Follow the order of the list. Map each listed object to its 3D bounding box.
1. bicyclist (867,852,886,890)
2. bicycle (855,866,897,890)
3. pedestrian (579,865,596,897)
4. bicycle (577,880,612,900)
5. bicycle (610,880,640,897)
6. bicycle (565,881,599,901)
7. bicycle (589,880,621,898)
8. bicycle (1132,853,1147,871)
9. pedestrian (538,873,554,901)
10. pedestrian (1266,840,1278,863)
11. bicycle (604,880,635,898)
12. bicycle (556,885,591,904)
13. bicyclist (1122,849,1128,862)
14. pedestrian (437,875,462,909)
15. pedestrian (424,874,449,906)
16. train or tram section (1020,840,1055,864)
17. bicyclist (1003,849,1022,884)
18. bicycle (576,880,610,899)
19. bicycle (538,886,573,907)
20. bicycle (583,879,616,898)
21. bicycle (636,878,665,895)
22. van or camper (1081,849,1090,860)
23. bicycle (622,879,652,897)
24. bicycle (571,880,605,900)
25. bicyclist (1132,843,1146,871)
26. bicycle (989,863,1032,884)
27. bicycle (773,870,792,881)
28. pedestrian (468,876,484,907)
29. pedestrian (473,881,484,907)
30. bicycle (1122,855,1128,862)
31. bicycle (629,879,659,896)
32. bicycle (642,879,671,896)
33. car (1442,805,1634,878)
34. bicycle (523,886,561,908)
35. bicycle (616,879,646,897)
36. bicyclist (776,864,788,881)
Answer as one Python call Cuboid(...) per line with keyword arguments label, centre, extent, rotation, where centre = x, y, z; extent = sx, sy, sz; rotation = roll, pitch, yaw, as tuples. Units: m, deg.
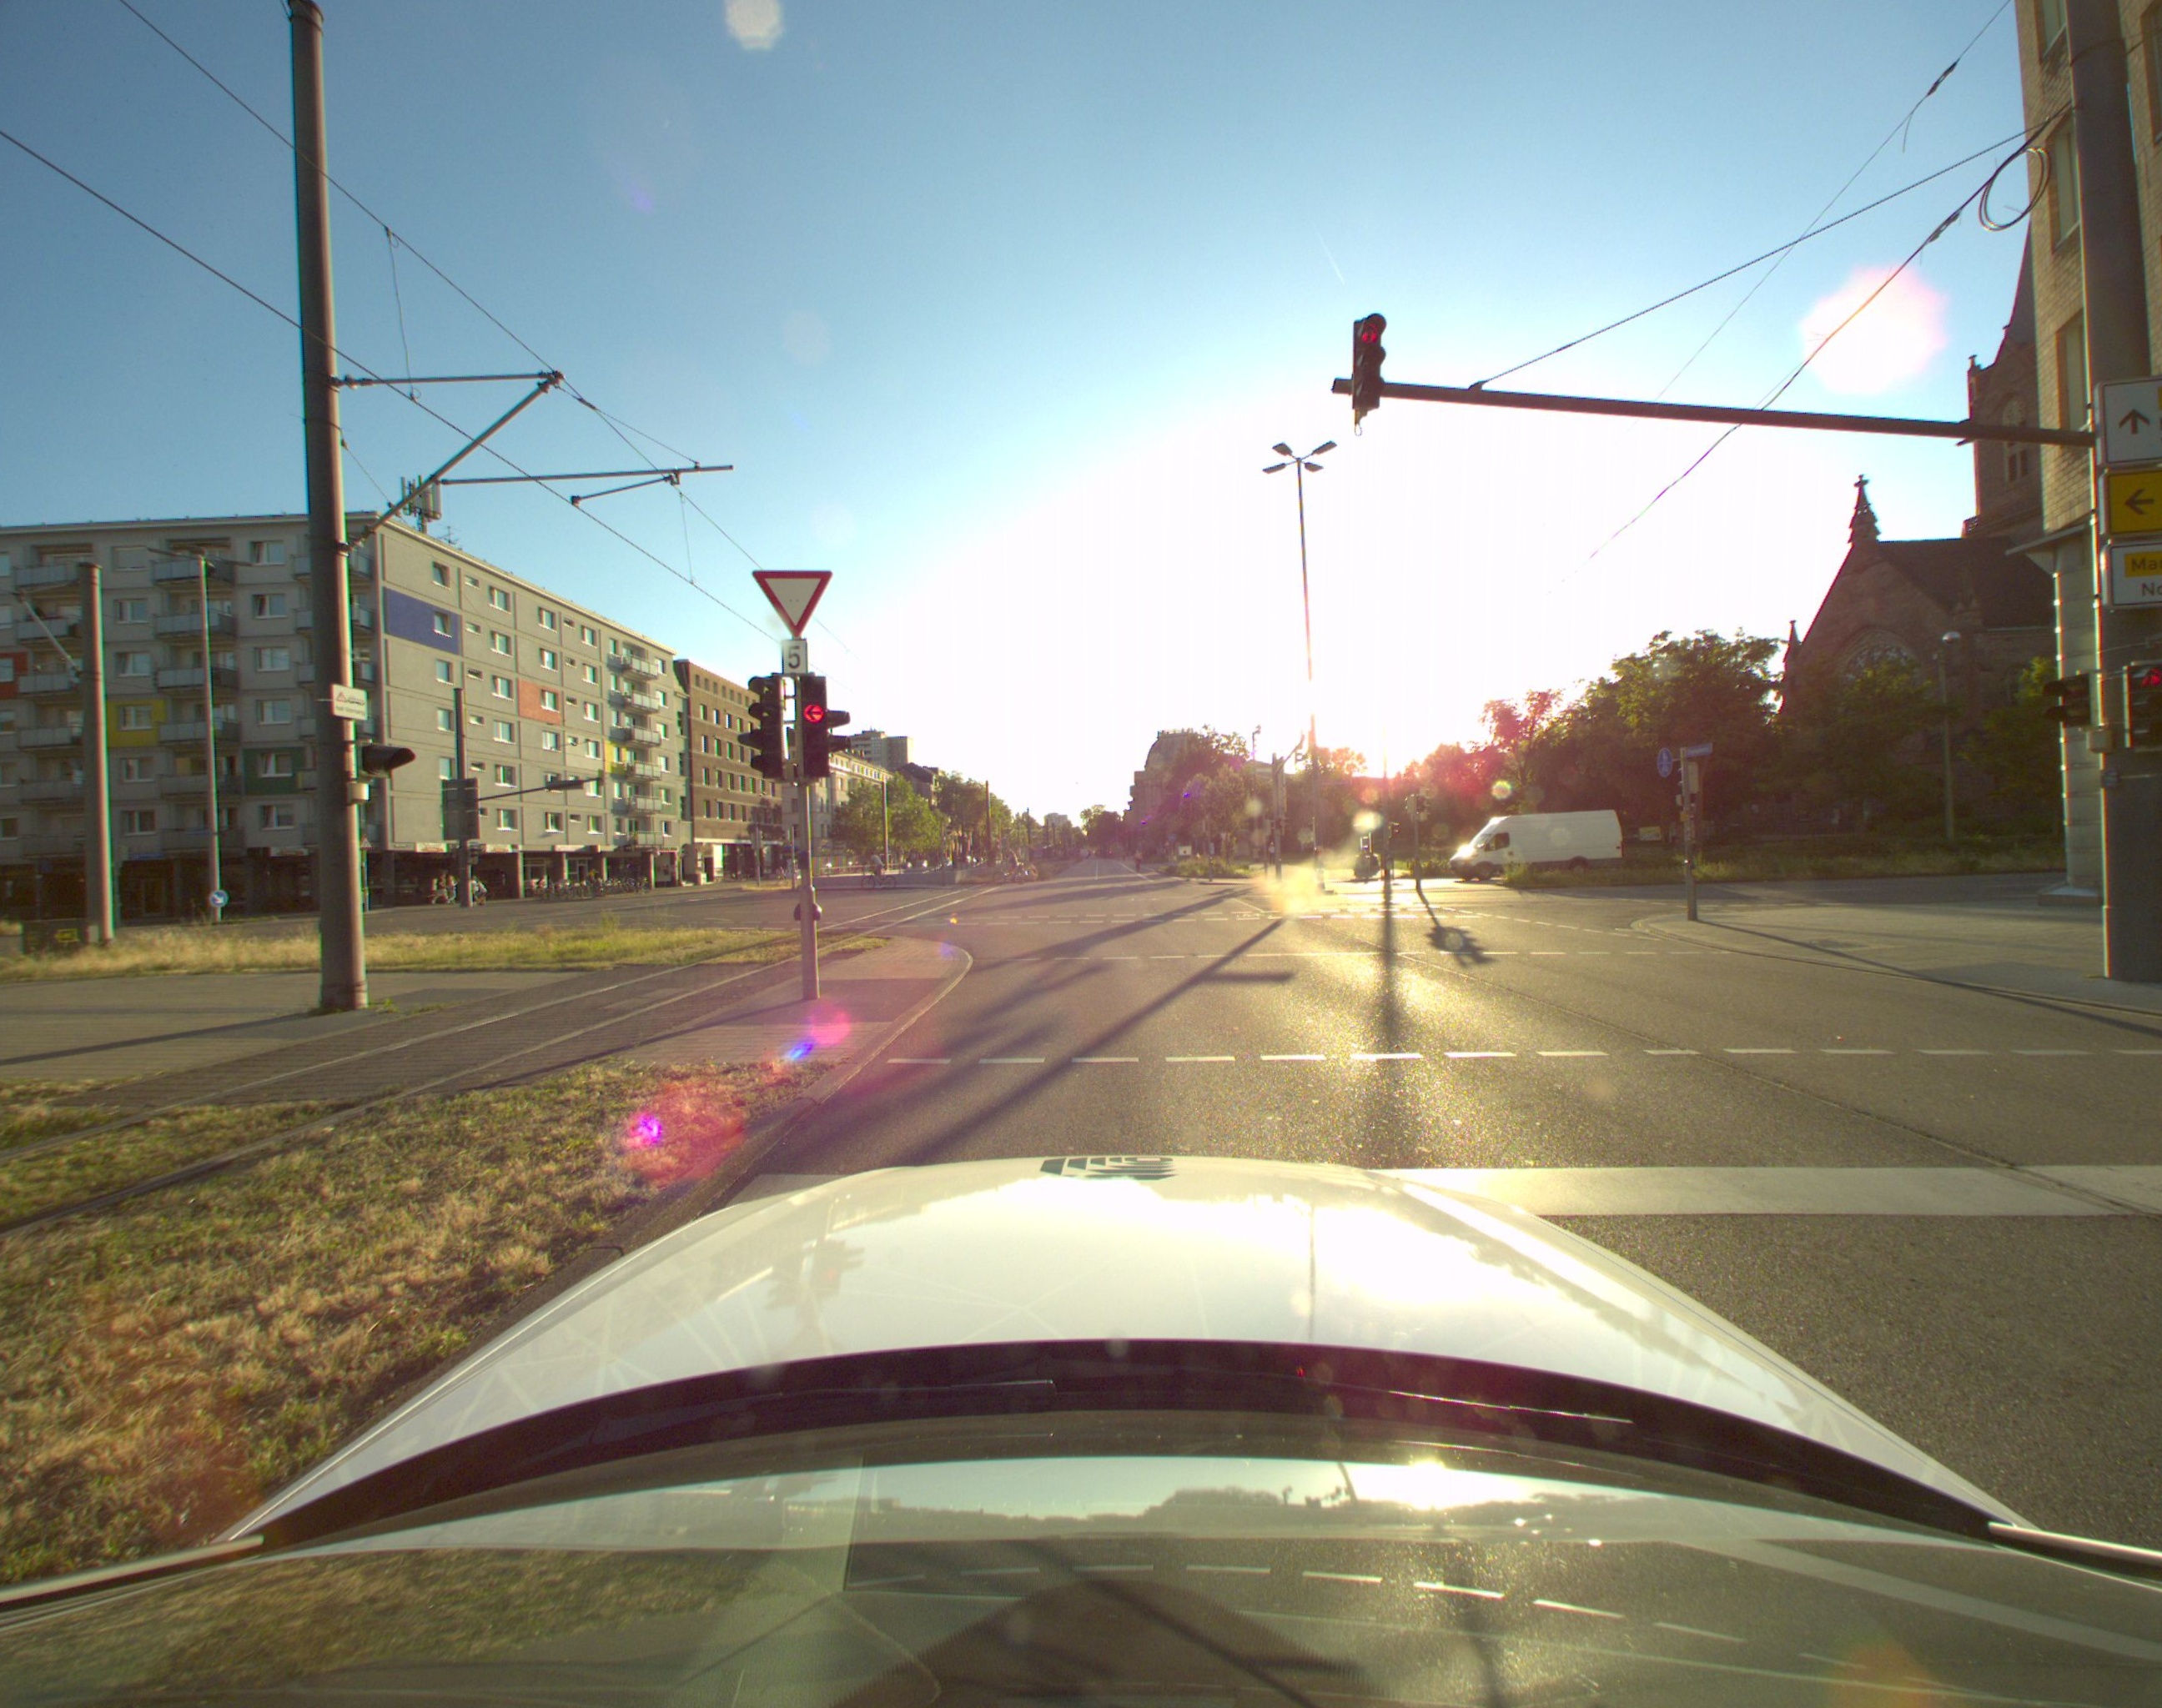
Cuboid(label="bicyclist", centre=(-10.005, 0.807, 39.859), extent=(0.793, 1.818, 0.643), rotation=(-2, 0, -12))
Cuboid(label="bicycle", centre=(-10.016, 1.181, 39.867), extent=(1.902, 1.075, 0.630), rotation=(-2, 0, -12))
Cuboid(label="pedestrian", centre=(-34.553, 1.891, 57.047), extent=(0.599, 2.178, 0.792), rotation=(-2, 0, 1))
Cuboid(label="bicycle", centre=(-31.240, 2.314, 52.301), extent=(1.782, 1.191, 0.652), rotation=(-2, 0, 1))
Cuboid(label="bicycle", centre=(-31.104, 2.342, 55.560), extent=(1.754, 1.119, 0.568), rotation=(-2, 0, 2))
Cuboid(label="bicycle", centre=(-31.279, 2.301, 51.054), extent=(1.759, 1.167, 0.540), rotation=(-2, 0, 2))
Cuboid(label="bicycle", centre=(-31.806, 2.347, 54.426), extent=(1.764, 1.136, 0.606), rotation=(-2, 0, 2))
Cuboid(label="bicycle", centre=(4.849, 0.668, 67.758), extent=(1.094, 1.399, 2.833), rotation=(-2, 0, 2))
Cuboid(label="pedestrian", centre=(-33.217, 2.053, 50.549), extent=(0.577, 1.684, 0.547), rotation=(-2, 0, 0))
Cuboid(label="pedestrian", centre=(15.167, -0.186, 64.623), extent=(0.826, 1.803, 0.814), rotation=(-2, 0, 17))
Cuboid(label="bicycle", centre=(-31.138, 2.340, 54.974), extent=(1.748, 1.117, 0.552), rotation=(-2, 0, 2))
Cuboid(label="bicycle", centre=(-31.461, 2.507, 50.481), extent=(1.750, 1.139, 0.600), rotation=(-2, 0, 2))
Cuboid(label="bicyclist", centre=(7.081, 0.211, 131.002), extent=(0.922, 2.013, 0.851), rotation=(-2, 0, 1))
Cuboid(label="pedestrian", centre=(-35.703, 2.129, 46.060), extent=(0.785, 1.841, 0.733), rotation=(-2, 0, -7))
Cuboid(label="pedestrian", centre=(-36.655, 2.032, 46.331), extent=(0.826, 1.813, 0.718), rotation=(-1, -1, -9))
Cuboid(label="train or tram section", centre=(-7.783, -0.379, 149.076), extent=(4.363, 3.849, 11.433), rotation=(-2, 2, 7))
Cuboid(label="bicyclist", centre=(-3.628, 0.650, 43.073), extent=(0.871, 1.818, 0.539), rotation=(-2, 0, 7))
Cuboid(label="bicycle", centre=(-31.796, 2.304, 53.103), extent=(1.824, 1.160, 0.640), rotation=(-2, 0, 1))
Cuboid(label="bicycle", centre=(-32.176, 2.602, 49.868), extent=(1.770, 1.142, 0.608), rotation=(-2, 0, 1))
Cuboid(label="bicycle", centre=(-31.785, 2.297, 53.778), extent=(1.769, 1.159, 0.606), rotation=(-2, 0, 1))
Cuboid(label="bicycle", centre=(-30.859, 2.317, 58.413), extent=(1.683, 1.170, 0.749), rotation=(-2, 0, 3))
Cuboid(label="van or camper", centre=(1.155, 0.222, 209.909), extent=(2.441, 2.770, 5.600), rotation=(-2, 0, 0))
Cuboid(label="bicycle", centre=(-30.985, 2.384, 56.885), extent=(1.683, 1.153, 0.706), rotation=(-2, 0, 3))
Cuboid(label="bicycle", centre=(-31.251, 2.292, 51.653), extent=(1.762, 1.182, 0.568), rotation=(-2, 0, 1))
Cuboid(label="bicyclist", centre=(4.829, 0.228, 67.744), extent=(1.078, 2.276, 0.986), rotation=(-2, 0, 1))
Cuboid(label="bicycle", centre=(-3.740, 1.025, 43.090), extent=(2.152, 1.083, 0.540), rotation=(-2, -1, 7))
Cuboid(label="bicycle", centre=(-26.229, 1.898, 71.632), extent=(0.503, 0.944, 1.678), rotation=(-2, 0, 27))
Cuboid(label="pedestrian", centre=(-32.482, 2.030, 43.734), extent=(0.575, 1.620, 0.598), rotation=(-2, 0, -29))
Cuboid(label="pedestrian", centre=(-32.820, 2.191, 44.384), extent=(0.383, 1.383, 0.392), rotation=(-2, 0, -26))
Cuboid(label="bicycle", centre=(7.115, 0.674, 130.955), extent=(0.921, 1.111, 2.334), rotation=(-2, 0, 2))
Cuboid(label="bicycle", centre=(-30.937, 2.363, 57.638), extent=(1.683, 1.179, 0.749), rotation=(-2, 0, 3))
Cuboid(label="bicycle", centre=(-30.807, 2.401, 59.143), extent=(1.683, 1.144, 0.697), rotation=(-2, 0, 3))
Cuboid(label="car", centre=(19.589, -0.531, 35.185), extent=(6.981, 2.827, 2.095), rotation=(-2, 0, 3))
Cuboid(label="bicycle", centre=(-32.286, 2.566, 48.801), extent=(1.788, 1.208, 0.638), rotation=(-2, 0, 0))
Cuboid(label="bicycle", centre=(-31.044, 2.346, 56.193), extent=(1.719, 1.124, 0.634), rotation=(-2, -1, 3))
Cuboid(label="bicyclist", centre=(-26.275, 1.627, 71.557), extent=(0.494, 1.426, 0.863), rotation=(-3, 0, 28))
